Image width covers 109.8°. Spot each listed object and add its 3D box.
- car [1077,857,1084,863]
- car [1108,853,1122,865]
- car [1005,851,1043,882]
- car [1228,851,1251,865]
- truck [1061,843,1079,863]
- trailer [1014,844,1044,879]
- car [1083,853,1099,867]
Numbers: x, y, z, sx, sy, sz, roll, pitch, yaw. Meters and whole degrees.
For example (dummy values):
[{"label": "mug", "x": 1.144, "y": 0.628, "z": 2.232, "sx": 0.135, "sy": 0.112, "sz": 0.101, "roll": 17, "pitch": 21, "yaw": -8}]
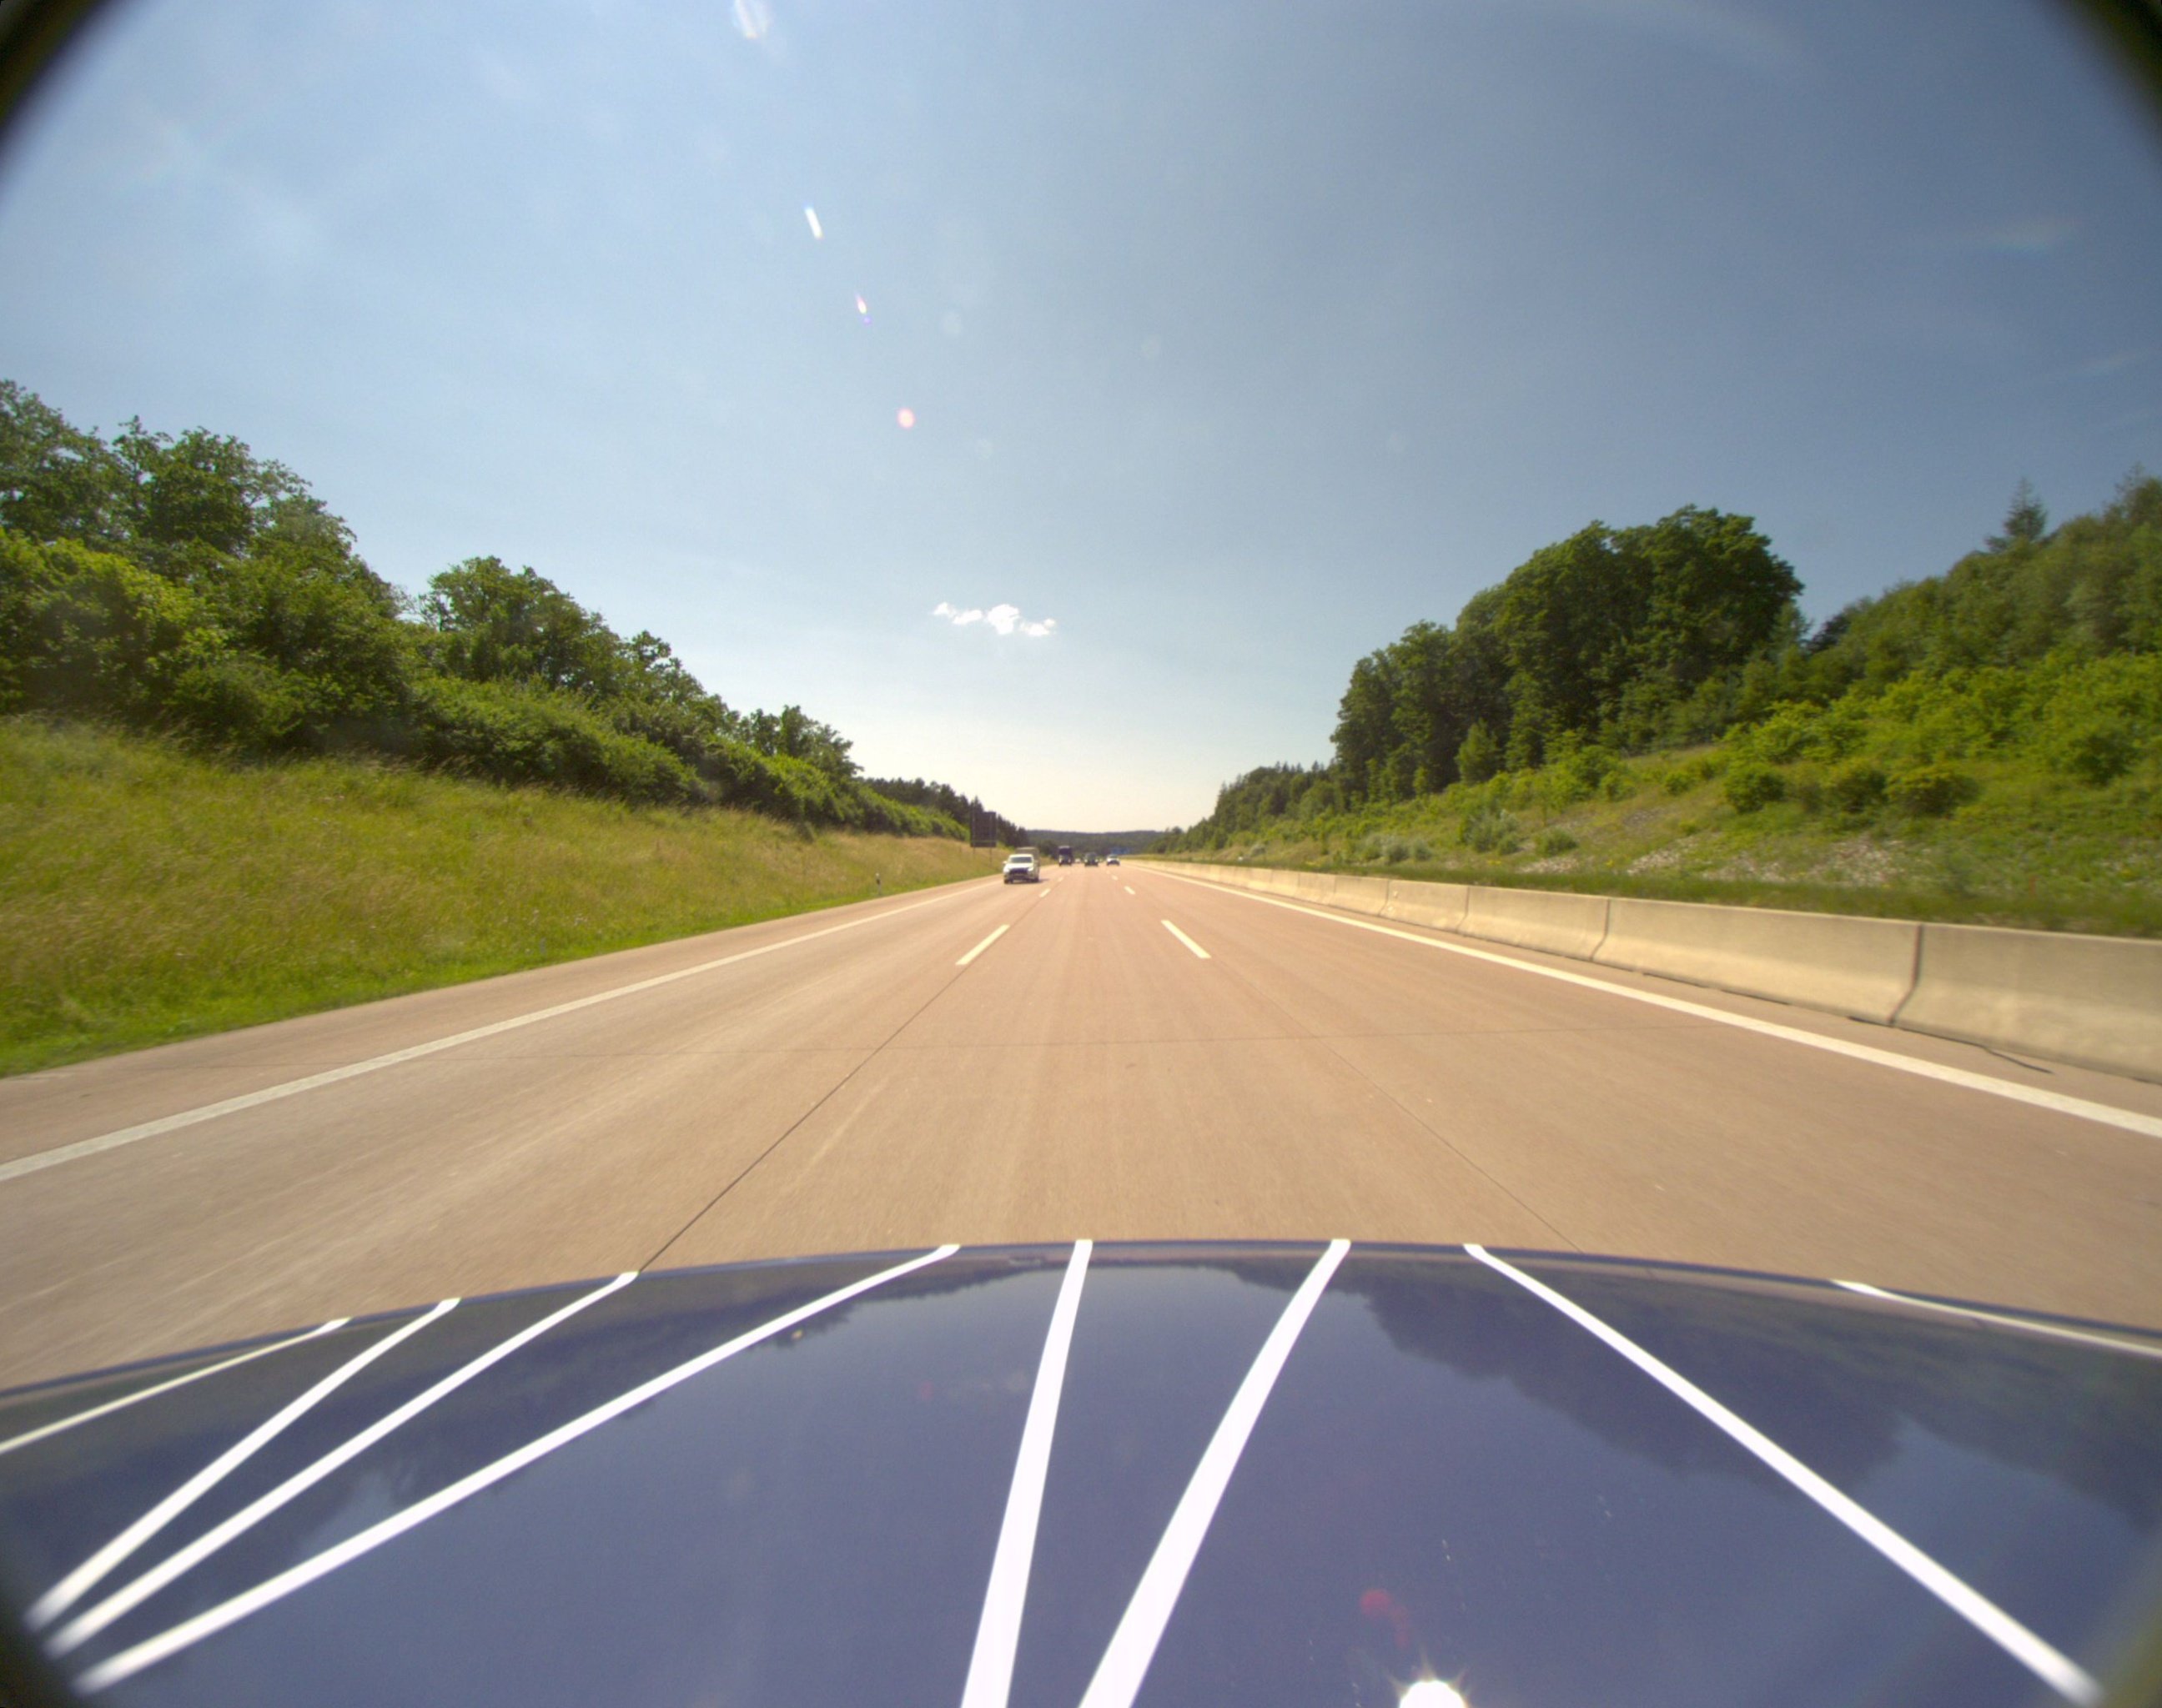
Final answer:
[{"label": "car", "x": -0.111, "y": 1.908, "z": 253.179, "sx": 1.998, "sy": 2.001, "sz": 4.000, "roll": -2, "pitch": 0, "yaw": 1}, {"label": "car", "x": 5.013, "y": 0.715, "z": 112.550, "sx": 1.895, "sy": 1.718, "sz": 4.564, "roll": -2, "pitch": -1, "yaw": 0}, {"label": "car", "x": -3.350, "y": 0.721, "z": 45.428, "sx": 1.896, "sy": 1.718, "sz": 5.185, "roll": -2, "pitch": 0, "yaw": -1}, {"label": "car", "x": 20.182, "y": 0.499, "z": 96.860, "sx": 1.896, "sy": 1.642, "sz": 4.663, "roll": -2, "pitch": -1, "yaw": -1}, {"label": "truck", "x": -1.794, "y": -0.142, "z": 125.167, "sx": 2.508, "sy": 3.199, "sz": 7.786, "roll": -2, "pitch": -1, "yaw": 2}, {"label": "trailer", "x": -3.396, "y": 0.490, "z": 49.988, "sx": 1.662, "sy": 2.151, "sz": 4.016, "roll": -2, "pitch": 0, "yaw": 0}, {"label": "car", "x": 1.451, "y": 0.815, "z": 107.552, "sx": 1.998, "sy": 1.805, "sz": 4.565, "roll": -2, "pitch": 0, "yaw": 3}]
